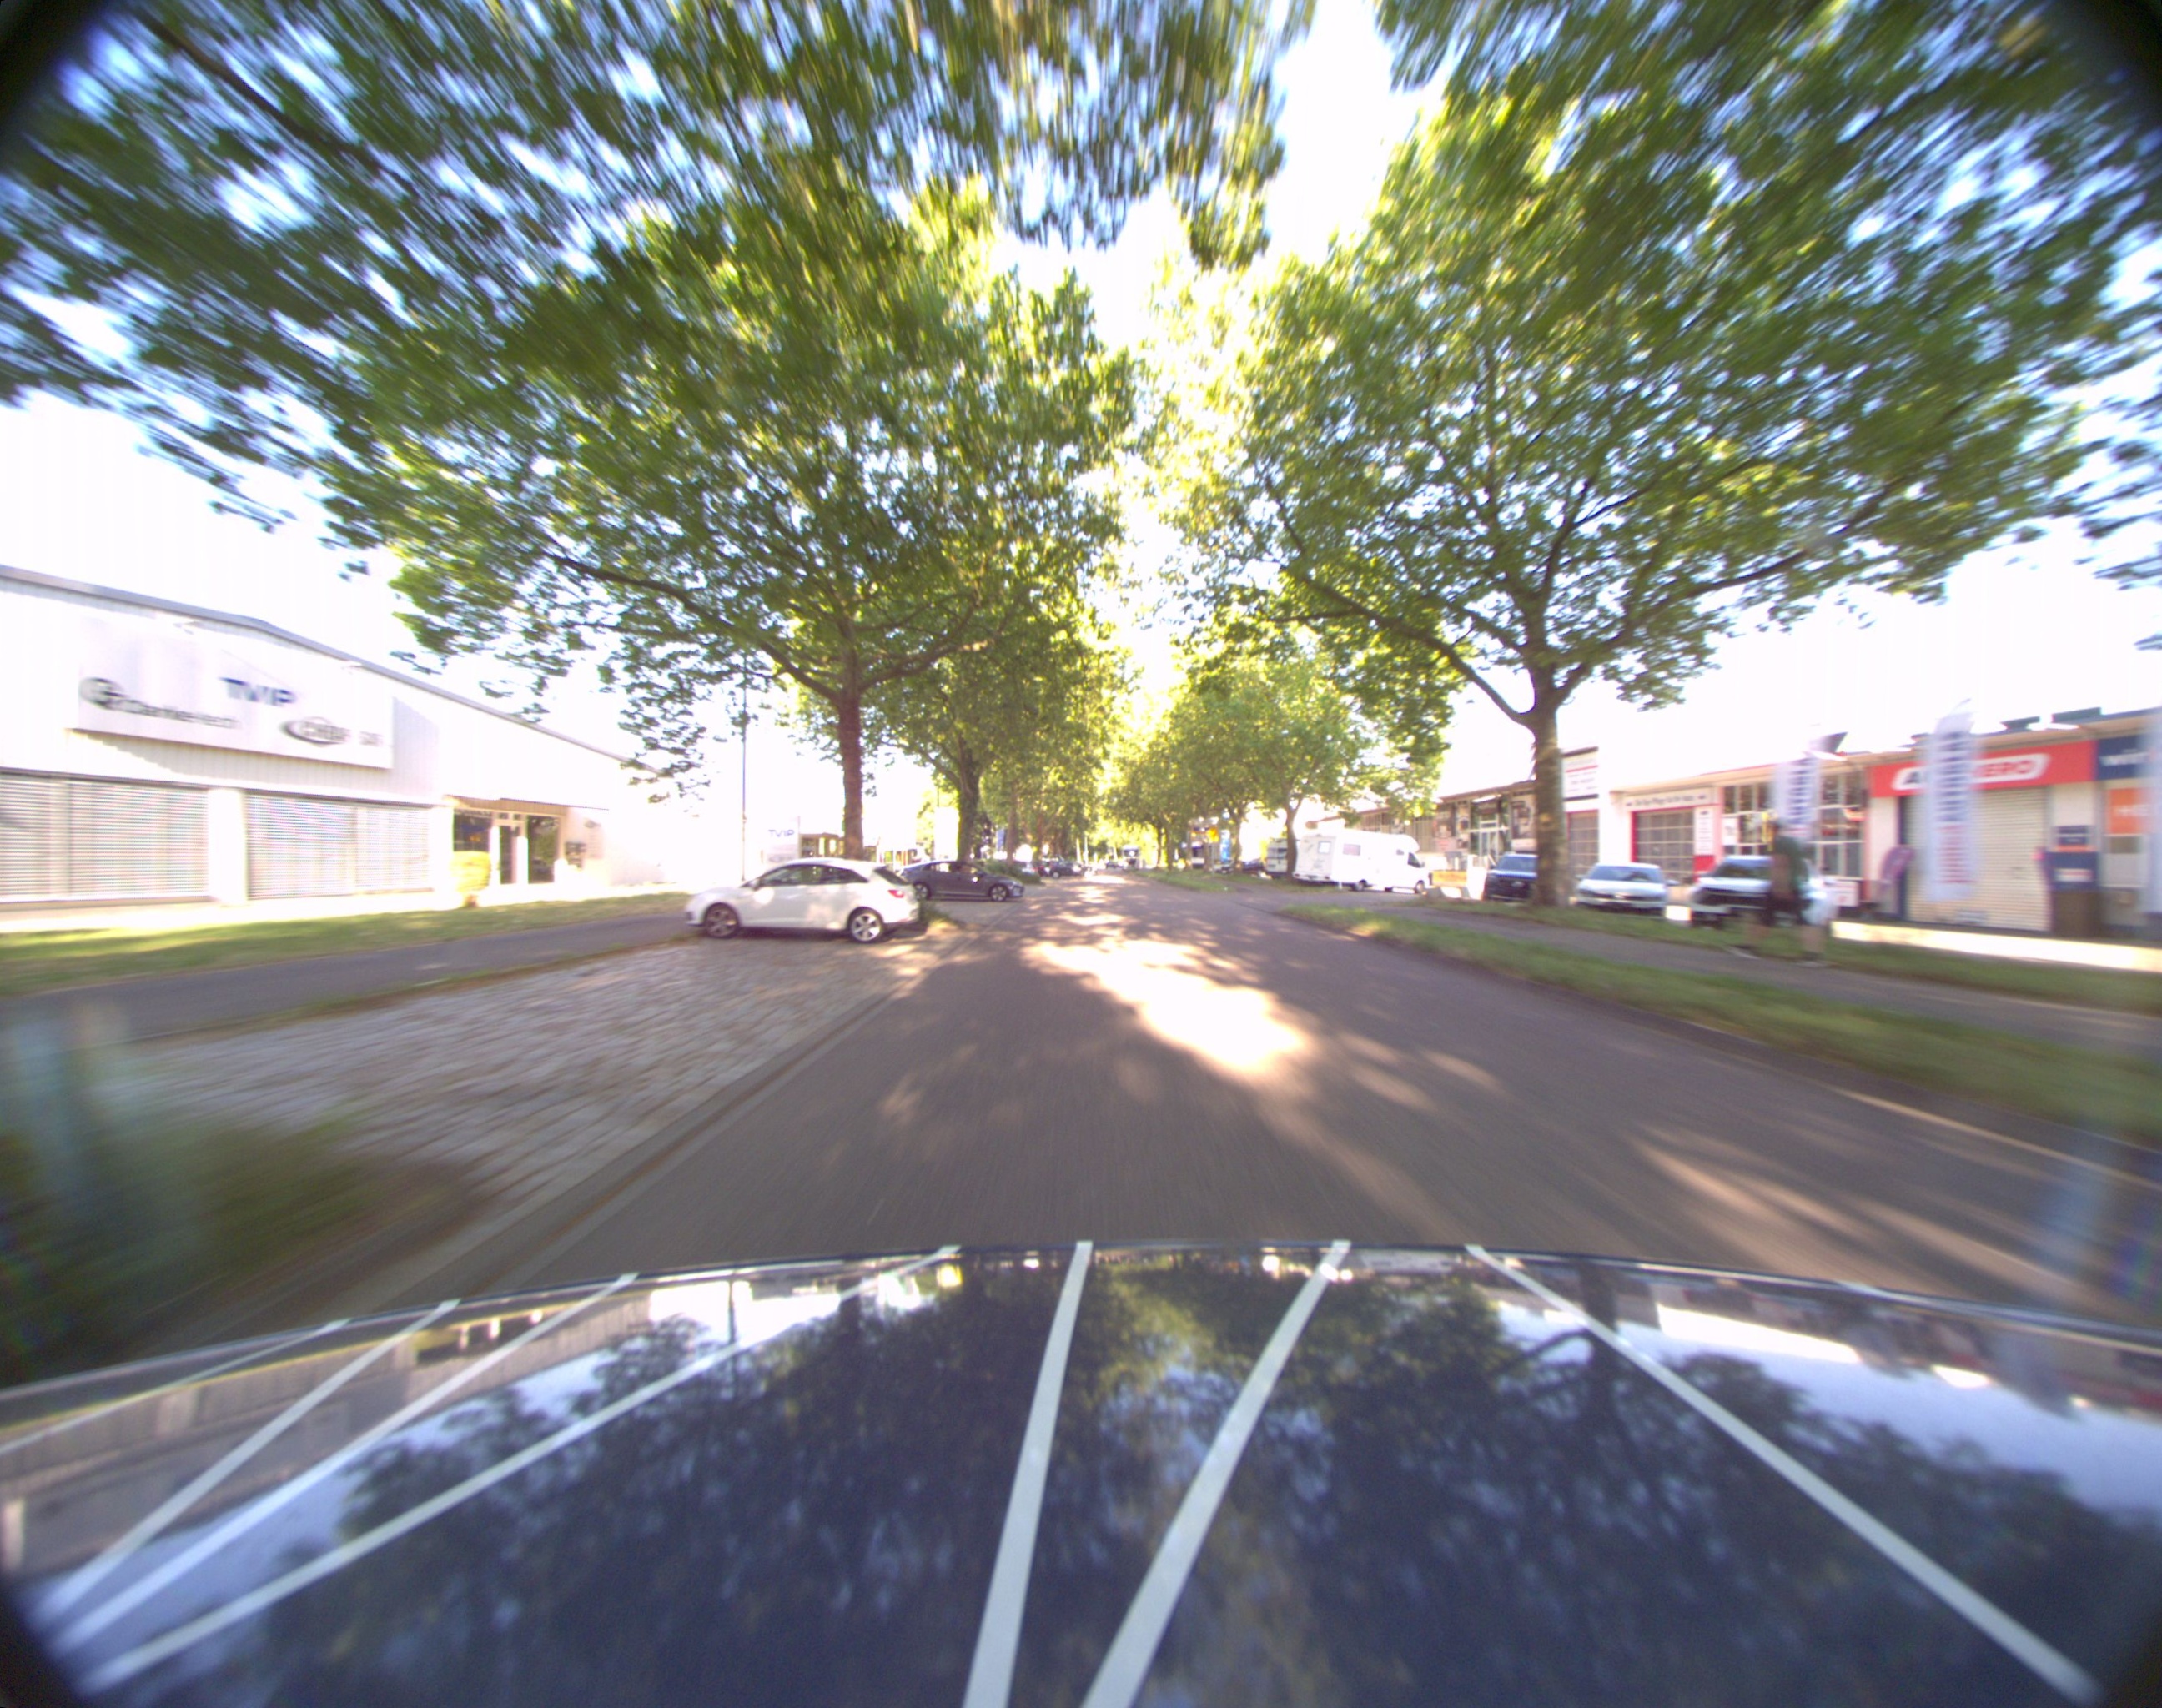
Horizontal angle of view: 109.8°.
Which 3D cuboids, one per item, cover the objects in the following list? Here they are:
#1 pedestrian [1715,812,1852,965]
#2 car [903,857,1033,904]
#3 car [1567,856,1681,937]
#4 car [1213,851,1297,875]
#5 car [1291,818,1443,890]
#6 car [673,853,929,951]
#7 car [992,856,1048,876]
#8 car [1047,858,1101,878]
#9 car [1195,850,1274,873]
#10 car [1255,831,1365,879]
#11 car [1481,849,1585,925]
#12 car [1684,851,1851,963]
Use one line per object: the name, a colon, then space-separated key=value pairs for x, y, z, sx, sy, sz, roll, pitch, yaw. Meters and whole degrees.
pedestrian: x=8.527 y=0.399 z=9.271 sx=0.805 sy=1.763 sz=0.940 roll=-2 pitch=1 yaw=2
car: x=-3.956 y=0.929 z=27.196 sx=4.405 sy=1.410 sz=1.999 roll=2 pitch=0 yaw=-5
car: x=12.976 y=0.911 z=18.084 sx=1.994 sy=1.561 sz=4.059 roll=-1 pitch=1 yaw=38
car: x=14.879 y=0.794 z=65.099 sx=6.429 sy=1.669 sz=2.722 roll=3 pitch=-2 yaw=-18
car: x=13.412 y=0.077 z=35.526 sx=6.972 sy=2.835 sz=2.596 roll=4 pitch=-2 yaw=-28
car: x=-4.900 y=0.813 z=13.679 sx=3.944 sy=1.504 sz=1.666 roll=2 pitch=1 yaw=0
car: x=-4.852 y=0.943 z=60.522 sx=4.299 sy=1.410 sz=1.999 roll=2 pitch=0 yaw=-5
car: x=-0.554 y=1.136 z=63.110 sx=4.296 sy=1.410 sz=2.000 roll=2 pitch=0 yaw=3
car: x=13.685 y=0.704 z=67.839 sx=6.377 sy=1.669 sz=2.722 roll=3 pitch=-2 yaw=-18
car: x=13.932 y=0.108 z=46.123 sx=6.338 sy=2.482 sz=2.595 roll=4 pitch=-2 yaw=-29
car: x=12.802 y=0.838 z=21.401 sx=1.994 sy=1.829 sz=4.257 roll=-1 pitch=1 yaw=38
car: x=13.349 y=0.882 z=14.682 sx=4.321 sy=1.741 sz=1.994 roll=-2 pitch=1 yaw=-43
